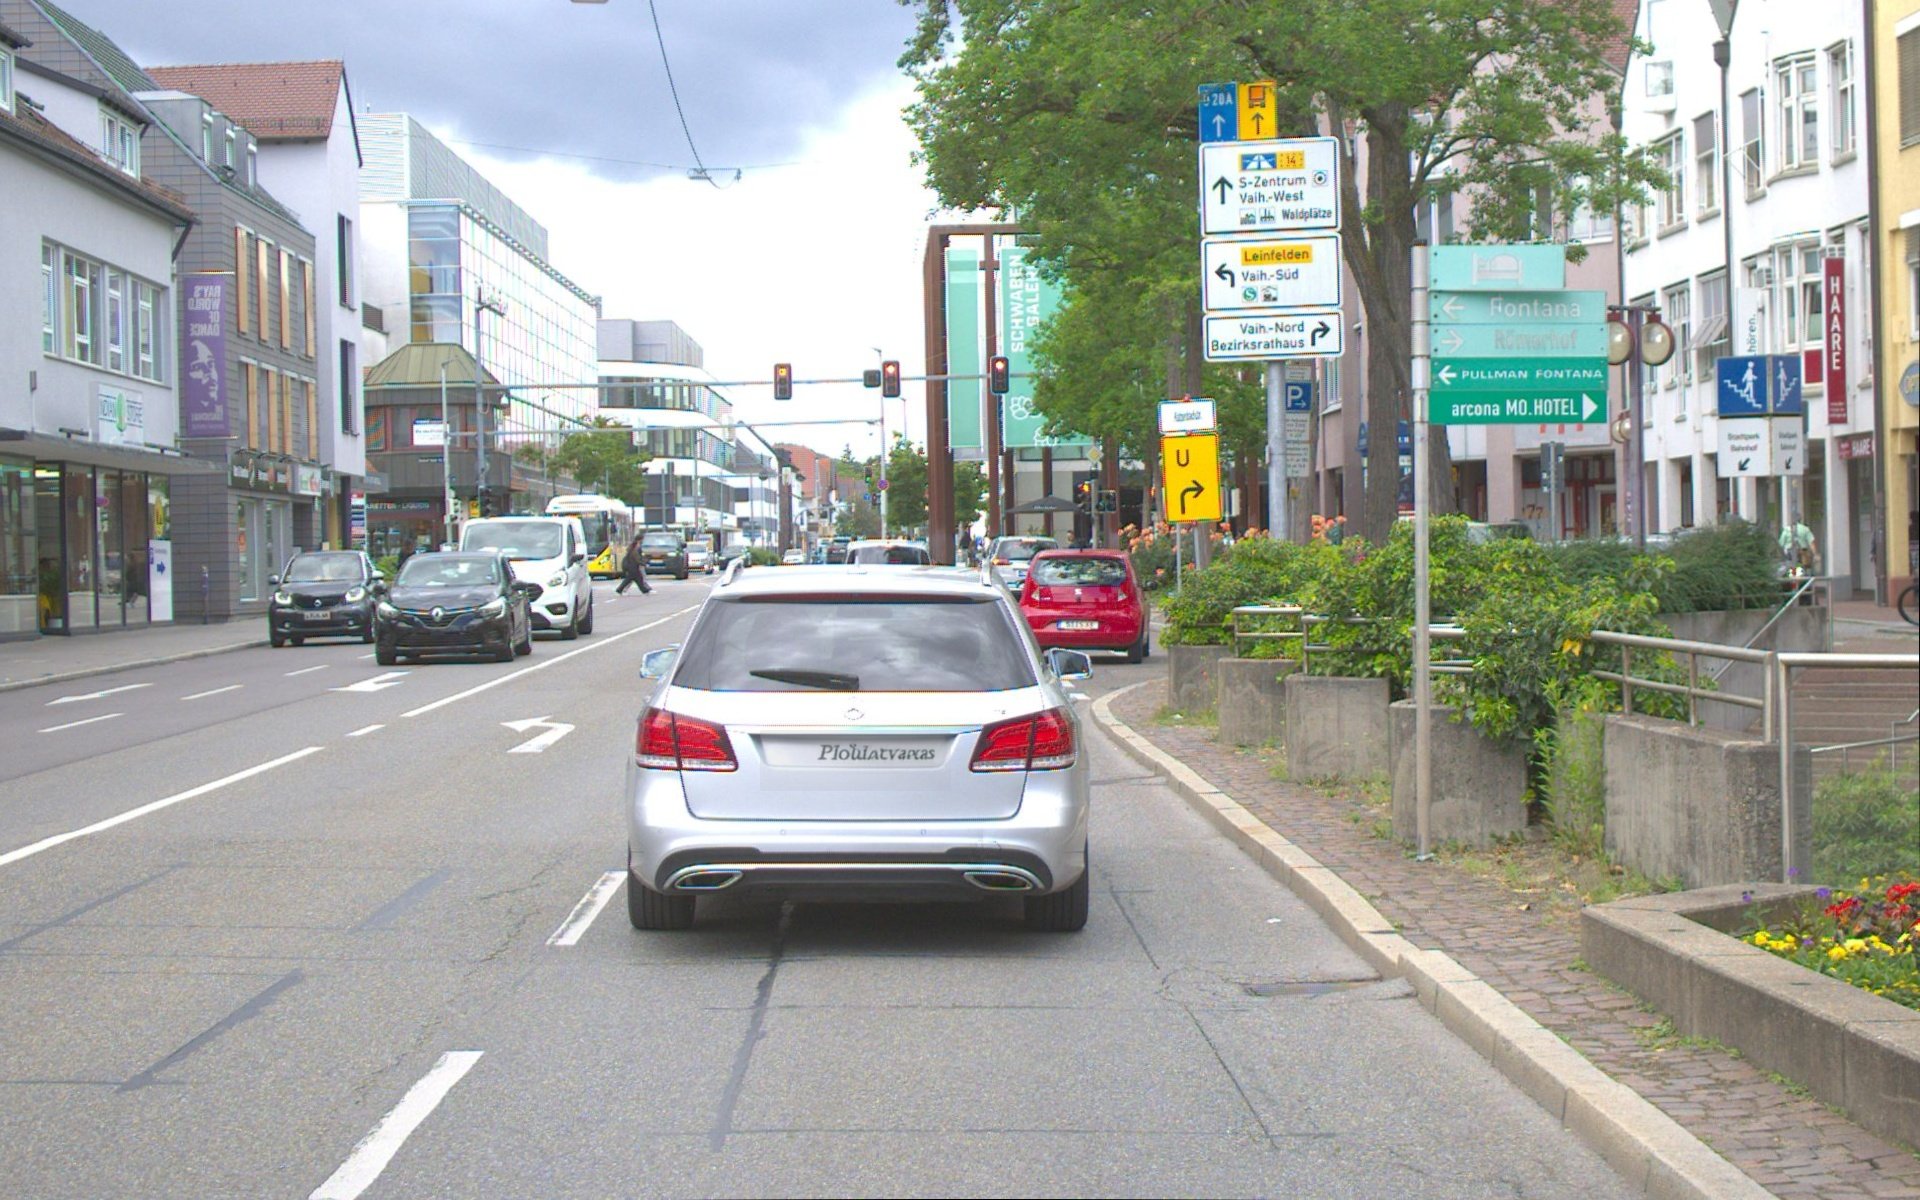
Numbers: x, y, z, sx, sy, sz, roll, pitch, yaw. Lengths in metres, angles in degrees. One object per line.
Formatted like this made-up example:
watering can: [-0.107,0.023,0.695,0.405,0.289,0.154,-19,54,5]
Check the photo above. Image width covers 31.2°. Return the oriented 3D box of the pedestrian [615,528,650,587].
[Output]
pedestrian: [-9.230,-1.204,96.873,0.857,1.629,0.588,2,1,1]

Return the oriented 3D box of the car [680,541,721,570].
car: [-11.497,-1.999,152.471,1.575,1.240,3.607,-1,1,-1]

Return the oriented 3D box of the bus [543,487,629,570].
bus: [-14.752,-2.828,135.791,2.775,3.154,5.933,-1,1,-1]

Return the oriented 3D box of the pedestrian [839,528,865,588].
pedestrian: [-2.993,-1.169,95.329,0.613,1.629,0.588,2,1,-10]

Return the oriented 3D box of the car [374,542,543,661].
car: [-6.479,-0.018,44.741,1.617,1.423,3.923,-2,1,0]

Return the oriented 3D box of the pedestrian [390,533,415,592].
pedestrian: [-15.554,-1.054,95.918,0.586,1.629,0.615,2,1,-3]

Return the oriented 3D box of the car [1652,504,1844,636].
car: [11.672,-0.463,51.157,1.866,1.858,4.000,-1,1,-1]

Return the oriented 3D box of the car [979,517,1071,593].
car: [1.488,-1.060,79.876,1.993,1.678,4.000,-1,1,-1]

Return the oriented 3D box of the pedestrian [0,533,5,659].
pedestrian: [-12.830,-0.051,44.371,0.816,1.629,0.980,1,1,-6]

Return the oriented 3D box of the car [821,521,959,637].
car: [-1.054,-0.346,52.415,1.993,1.678,4.000,-1,1,-1]

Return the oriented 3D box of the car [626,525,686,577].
car: [-11.884,-1.933,134.628,1.993,2.007,4.000,-1,1,-1]

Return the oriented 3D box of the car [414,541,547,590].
car: [-15.634,-1.134,112.167,4.100,1.536,1.580,-1,1,0]

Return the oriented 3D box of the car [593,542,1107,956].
car: [-0.505,0.511,14.598,1.874,1.501,4.001,0,1,-3]

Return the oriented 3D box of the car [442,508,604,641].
car: [-6.942,-0.432,55.083,1.961,1.954,5.140,-2,1,-1]

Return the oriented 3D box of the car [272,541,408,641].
car: [-10.177,-0.173,56.626,1.617,1.518,3.508,-2,1,-1]

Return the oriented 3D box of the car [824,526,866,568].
car: [-5.749,-2.661,172.151,1.993,2.007,4.000,-1,1,-1]

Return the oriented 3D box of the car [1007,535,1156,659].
car: [1.635,-0.063,45.056,1.755,1.515,3.999,1,1,5]

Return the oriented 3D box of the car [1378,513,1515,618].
car: [8.993,-0.656,63.861,1.866,1.858,4.000,-1,1,-1]
